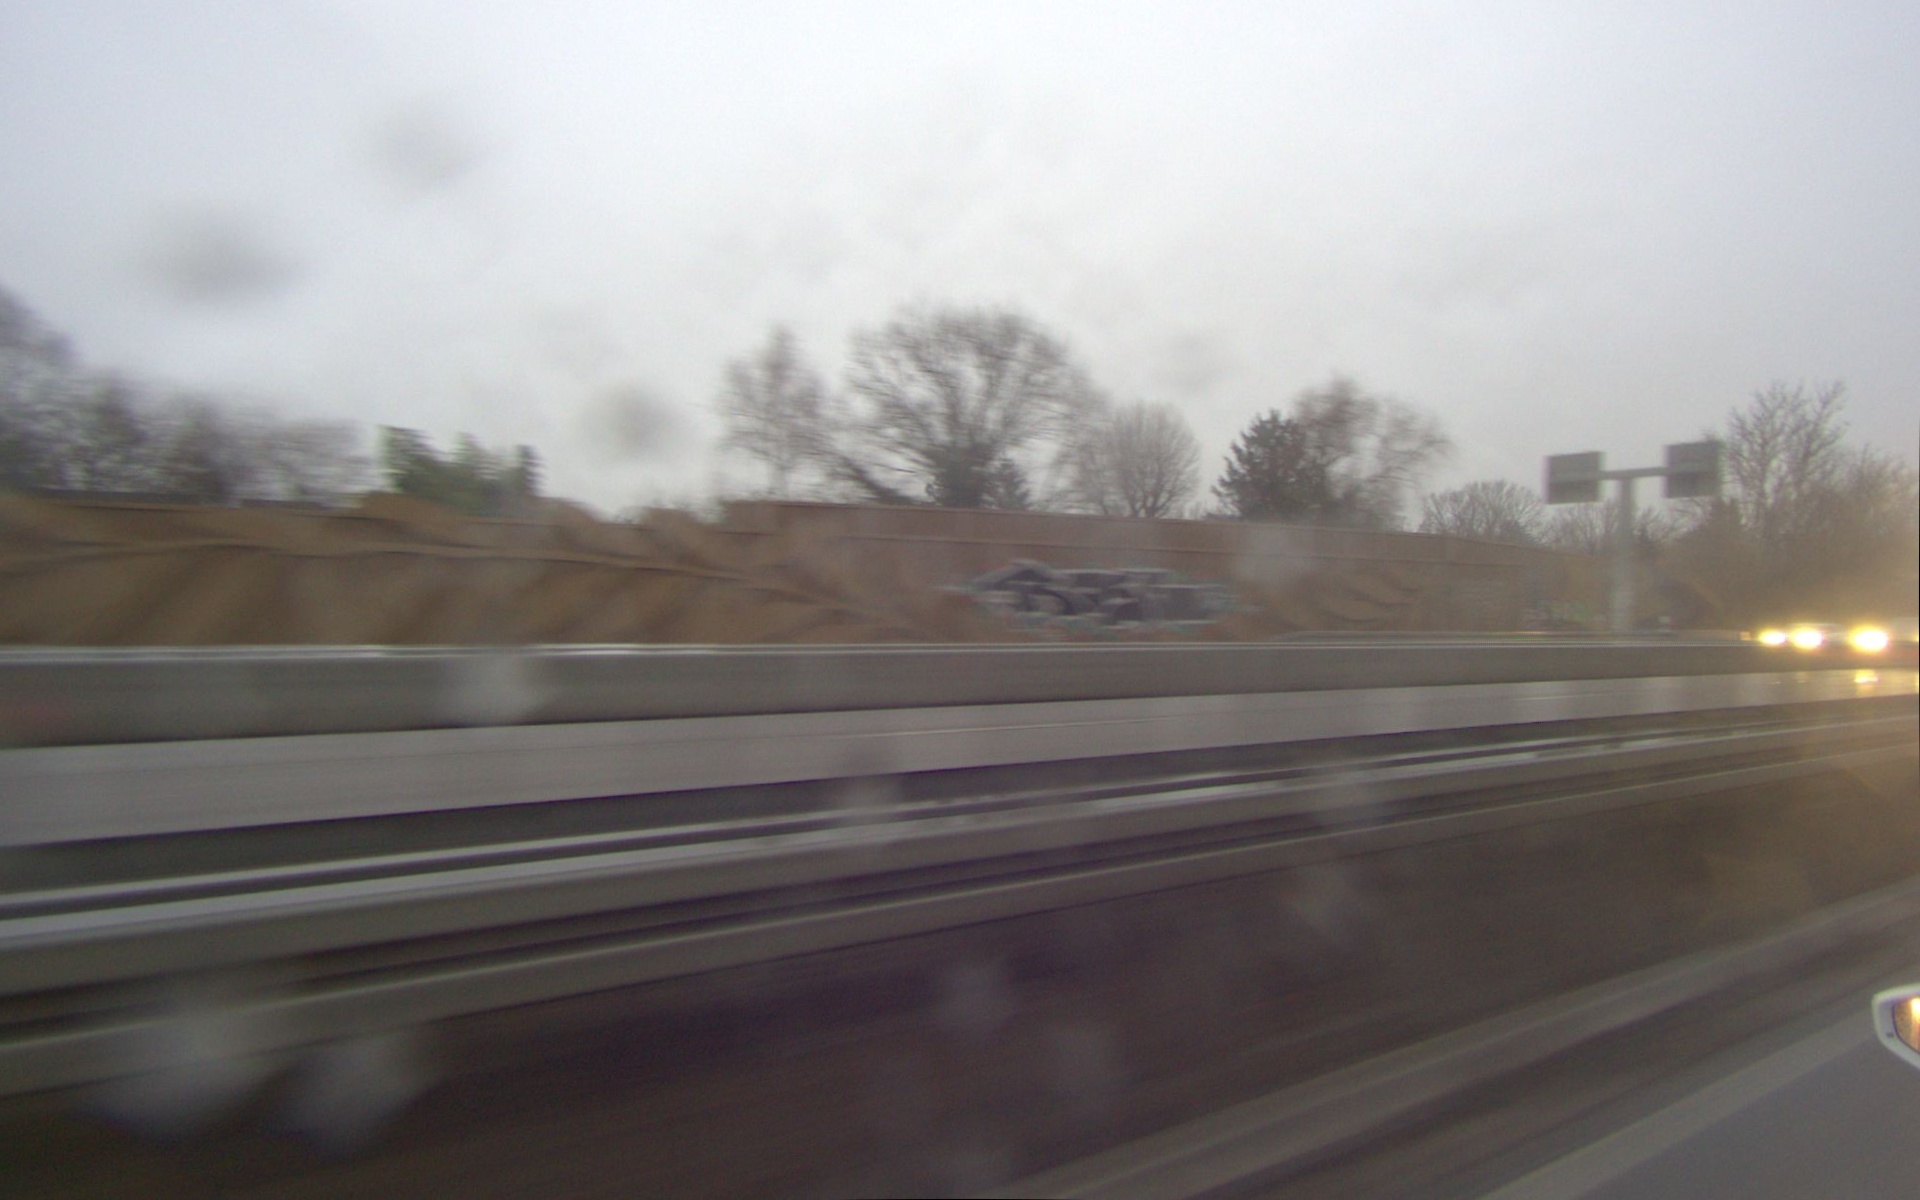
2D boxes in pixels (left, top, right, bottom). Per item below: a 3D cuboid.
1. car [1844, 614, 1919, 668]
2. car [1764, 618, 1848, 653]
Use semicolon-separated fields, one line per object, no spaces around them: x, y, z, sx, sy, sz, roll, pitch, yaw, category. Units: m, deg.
30.406;1.292;32.294;4.307;1.576;1.827;1;0;-32;car
40.937;1.722;48.590;4.306;1.576;1.827;1;0;-32;car
